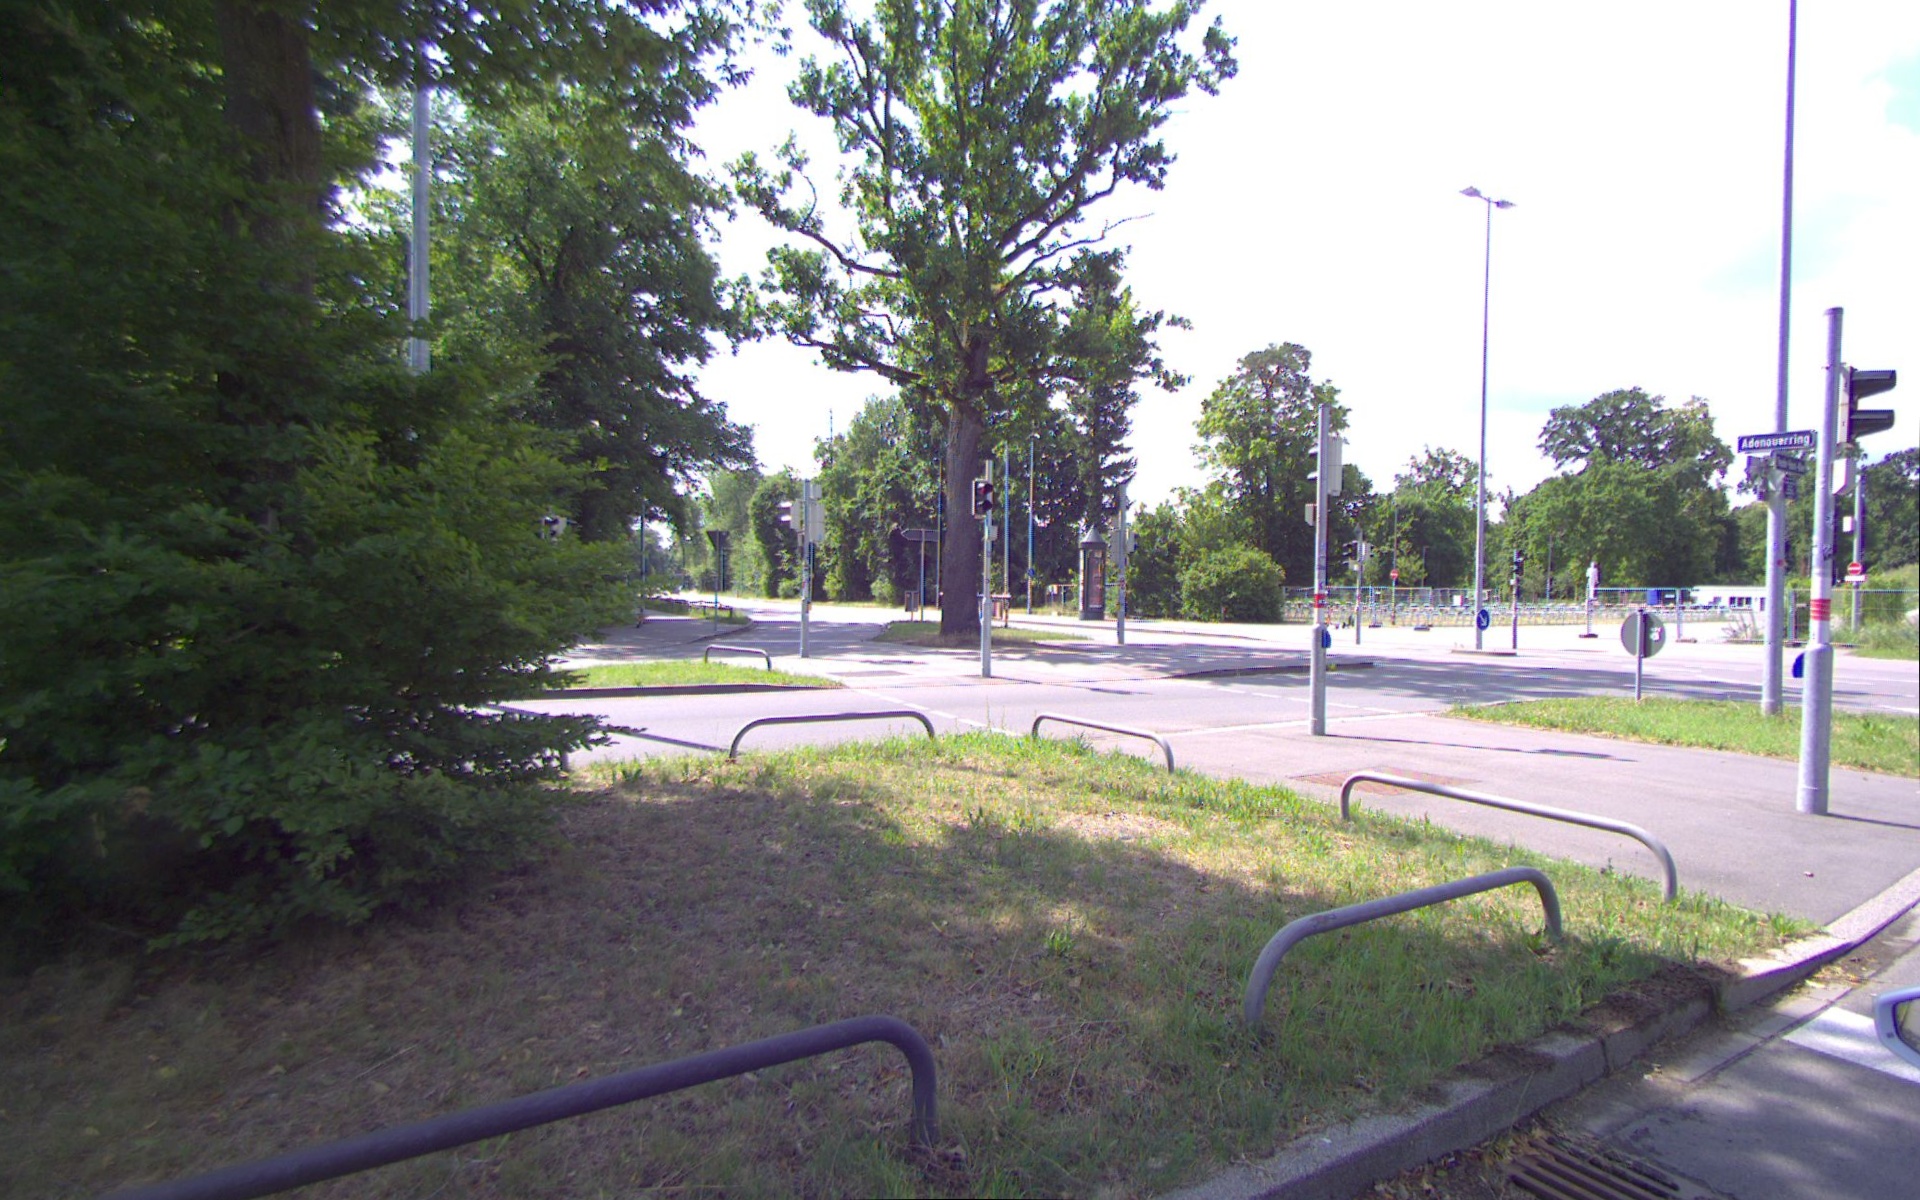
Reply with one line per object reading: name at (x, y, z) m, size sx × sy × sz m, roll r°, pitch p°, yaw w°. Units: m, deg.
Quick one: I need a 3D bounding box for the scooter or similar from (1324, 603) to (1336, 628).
scooter or similar at (18.147, 0.760, 49.283) m, size 0.399 × 1.216 × 1.312 m, roll 0°, pitch 1°, yaw 13°

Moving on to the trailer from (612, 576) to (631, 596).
trailer at (-42.413, -1.704, 125.799) m, size 1.971 × 2.420 × 3.979 m, roll 2°, pitch 0°, yaw -22°

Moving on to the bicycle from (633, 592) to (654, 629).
bicycle at (-10.341, 0.333, 32.835) m, size 0.413 × 1.189 × 1.228 m, roll 2°, pitch 0°, yaw -8°
